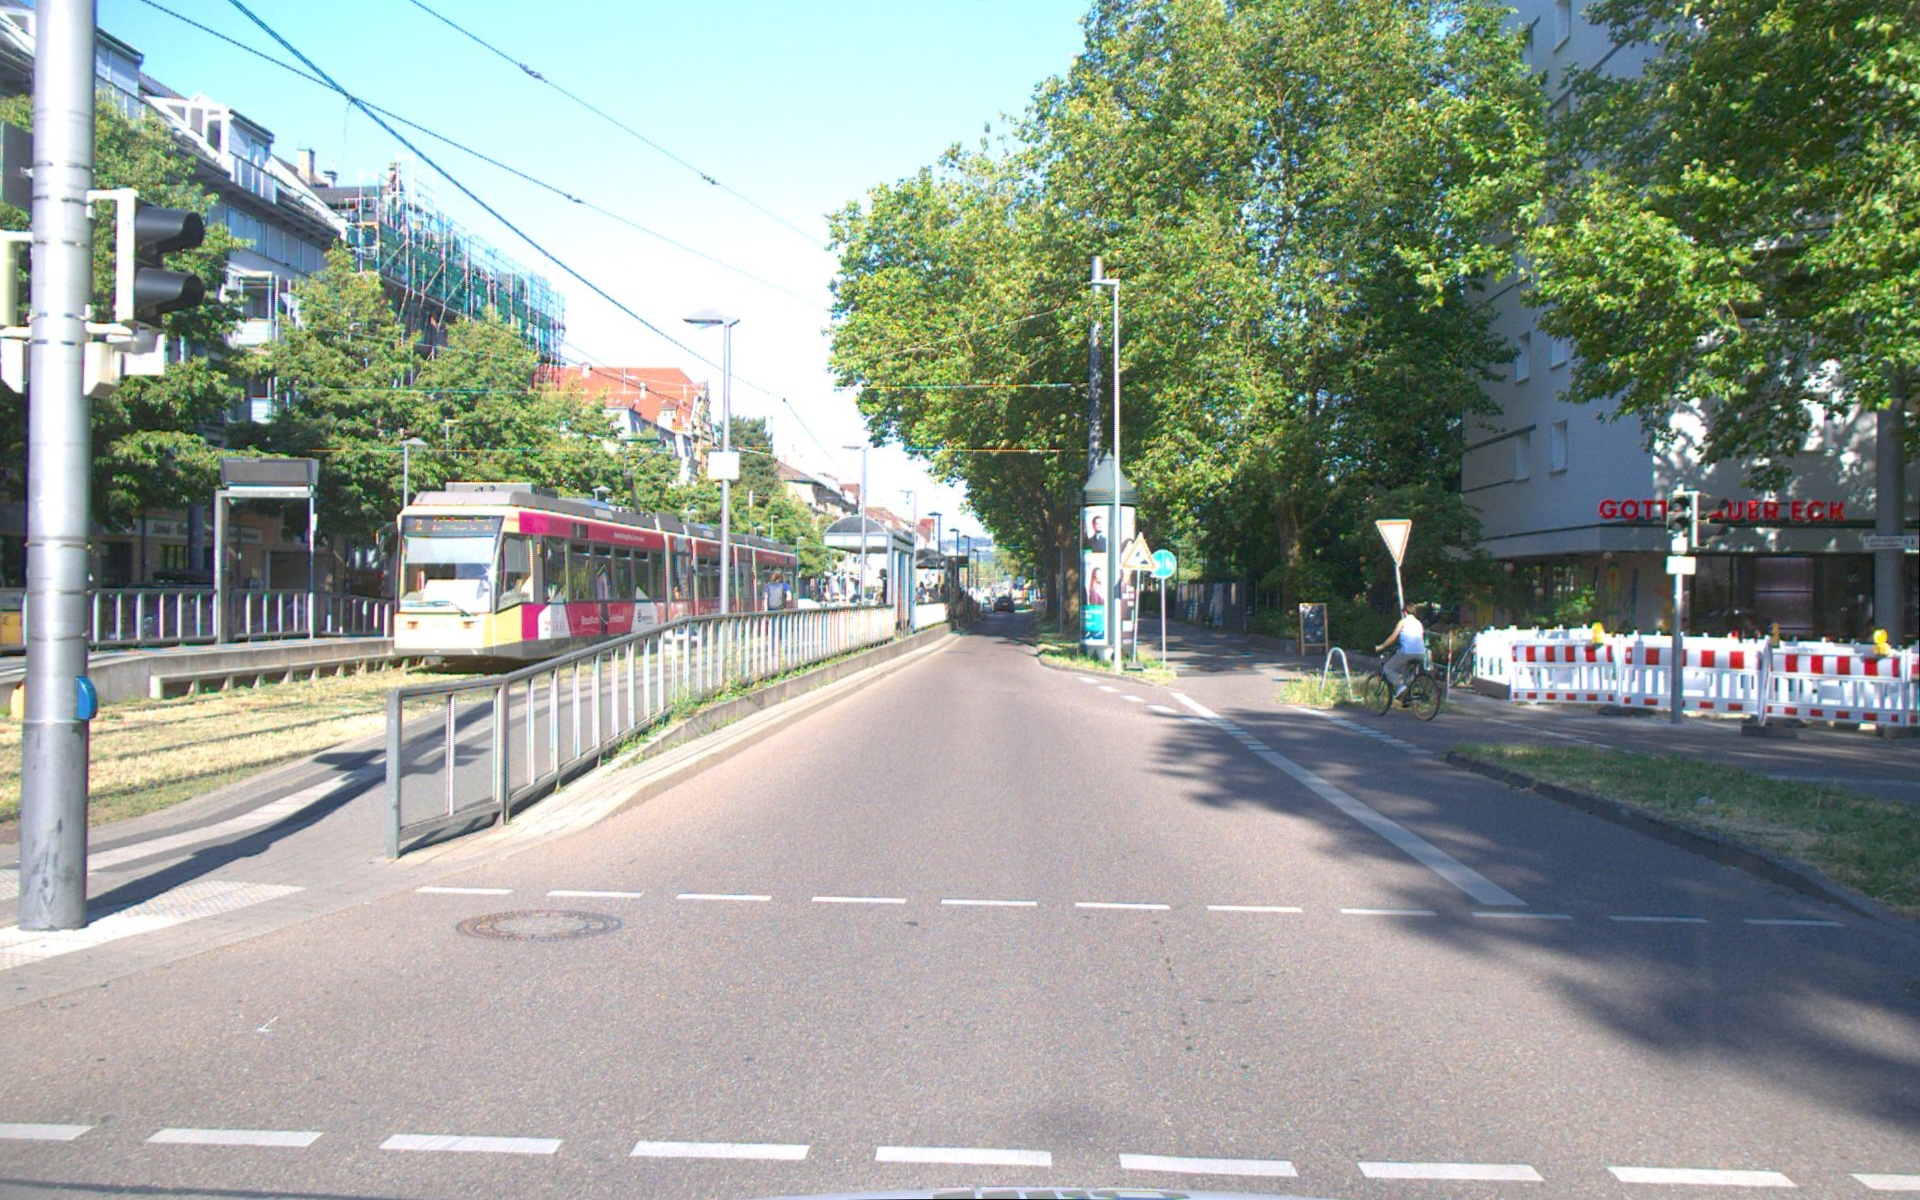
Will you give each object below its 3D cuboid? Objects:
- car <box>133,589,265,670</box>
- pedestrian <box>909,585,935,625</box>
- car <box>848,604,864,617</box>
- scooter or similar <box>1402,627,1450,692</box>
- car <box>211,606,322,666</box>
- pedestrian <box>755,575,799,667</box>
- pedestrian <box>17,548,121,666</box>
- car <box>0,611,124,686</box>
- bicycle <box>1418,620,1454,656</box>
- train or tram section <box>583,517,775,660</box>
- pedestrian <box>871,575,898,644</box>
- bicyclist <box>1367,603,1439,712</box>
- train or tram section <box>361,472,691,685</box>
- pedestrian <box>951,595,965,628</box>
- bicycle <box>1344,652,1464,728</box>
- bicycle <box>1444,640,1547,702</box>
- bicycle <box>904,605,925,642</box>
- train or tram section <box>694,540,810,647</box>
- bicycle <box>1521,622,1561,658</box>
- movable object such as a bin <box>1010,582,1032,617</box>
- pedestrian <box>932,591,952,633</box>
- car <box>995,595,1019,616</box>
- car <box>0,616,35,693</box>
[{"bbox_3d":[-22.156,0.830,48.316,1.900,2.204,3.786,2,0,2],"label":"car"},{"bbox_3d":[-1.697,0.227,73.068,0.898,1.752,0.625,3,-1,-32],"label":"pedestrian"},{"bbox_3d":[-15.201,1.498,241.874,1.974,1.784,4.559,2,1,2],"label":"car"},{"bbox_3d":[9.425,1.198,33.481,0.549,1.279,1.289,-1,-1,-1],"label":"scooter or similar"},{"bbox_3d":[-21.971,1.111,52.580,1.769,1.759,3.786,2,0,2],"label":"car"},{"bbox_3d":[-3.359,0.383,30.443,0.616,1.638,0.982,2,0,1],"label":"pedestrian"},{"bbox_3d":[-12.593,0.097,23.410,0.881,1.608,0.958,2,0,0],"label":"pedestrian"},{"bbox_3d":[-22.488,1.145,40.666,1.769,1.664,3.786,2,0,2],"label":"car"},{"bbox_3d":[16.884,1.336,58.667,0.772,1.198,1.821,2,0,2],"label":"bicycle"},{"bbox_3d":[-8.237,-0.260,50.894,2.810,3.750,14.564,0,0,2],"label":"train or tram section"},{"bbox_3d":[-2.158,0.276,47.247,0.655,1.935,0.824,2,-1,1],"label":"pedestrian"},{"bbox_3d":[6.552,0.836,24.487,0.598,1.578,0.849,1,-1,-35],"label":"bicyclist"},{"bbox_3d":[-8.821,-0.346,36.359,2.810,3.740,14.564,0,0,2],"label":"train or tram section"},{"bbox_3d":[-0.091,0.598,87.976,0.665,1.719,0.895,2,-1,2],"label":"pedestrian"},{"bbox_3d":[6.550,1.310,24.472,0.598,1.044,1.745,1,0,-34],"label":"bicycle"},{"bbox_3d":[9.953,1.307,30.793,0.596,1.044,1.934,0,1,-29],"label":"bicycle"},{"bbox_3d":[-1.480,0.759,54.005,0.502,1.153,2.104,2,0,2],"label":"bicycle"},{"bbox_3d":[-7.754,-0.189,63.007,2.810,3.750,9.687,0,0,2],"label":"train or tram section"},{"bbox_3d":[20.505,1.416,58.406,0.772,1.198,1.821,2,0,2],"label":"bicycle"},{"bbox_3d":[9.360,-0.083,255.160,3.023,5.177,8.893,-2,0,2],"label":"movable object such as a bin"},{"bbox_3d":[-0.769,0.515,70.670,0.749,1.789,0.695,2,-1,2],"label":"pedestrian"},{"bbox_3d":[4.116,0.480,144.837,1.952,1.713,4.001,2,0,2],"label":"car"},{"bbox_3d":[-22.587,1.205,36.748,1.769,1.706,3.786,2,0,2],"label":"car"}]
